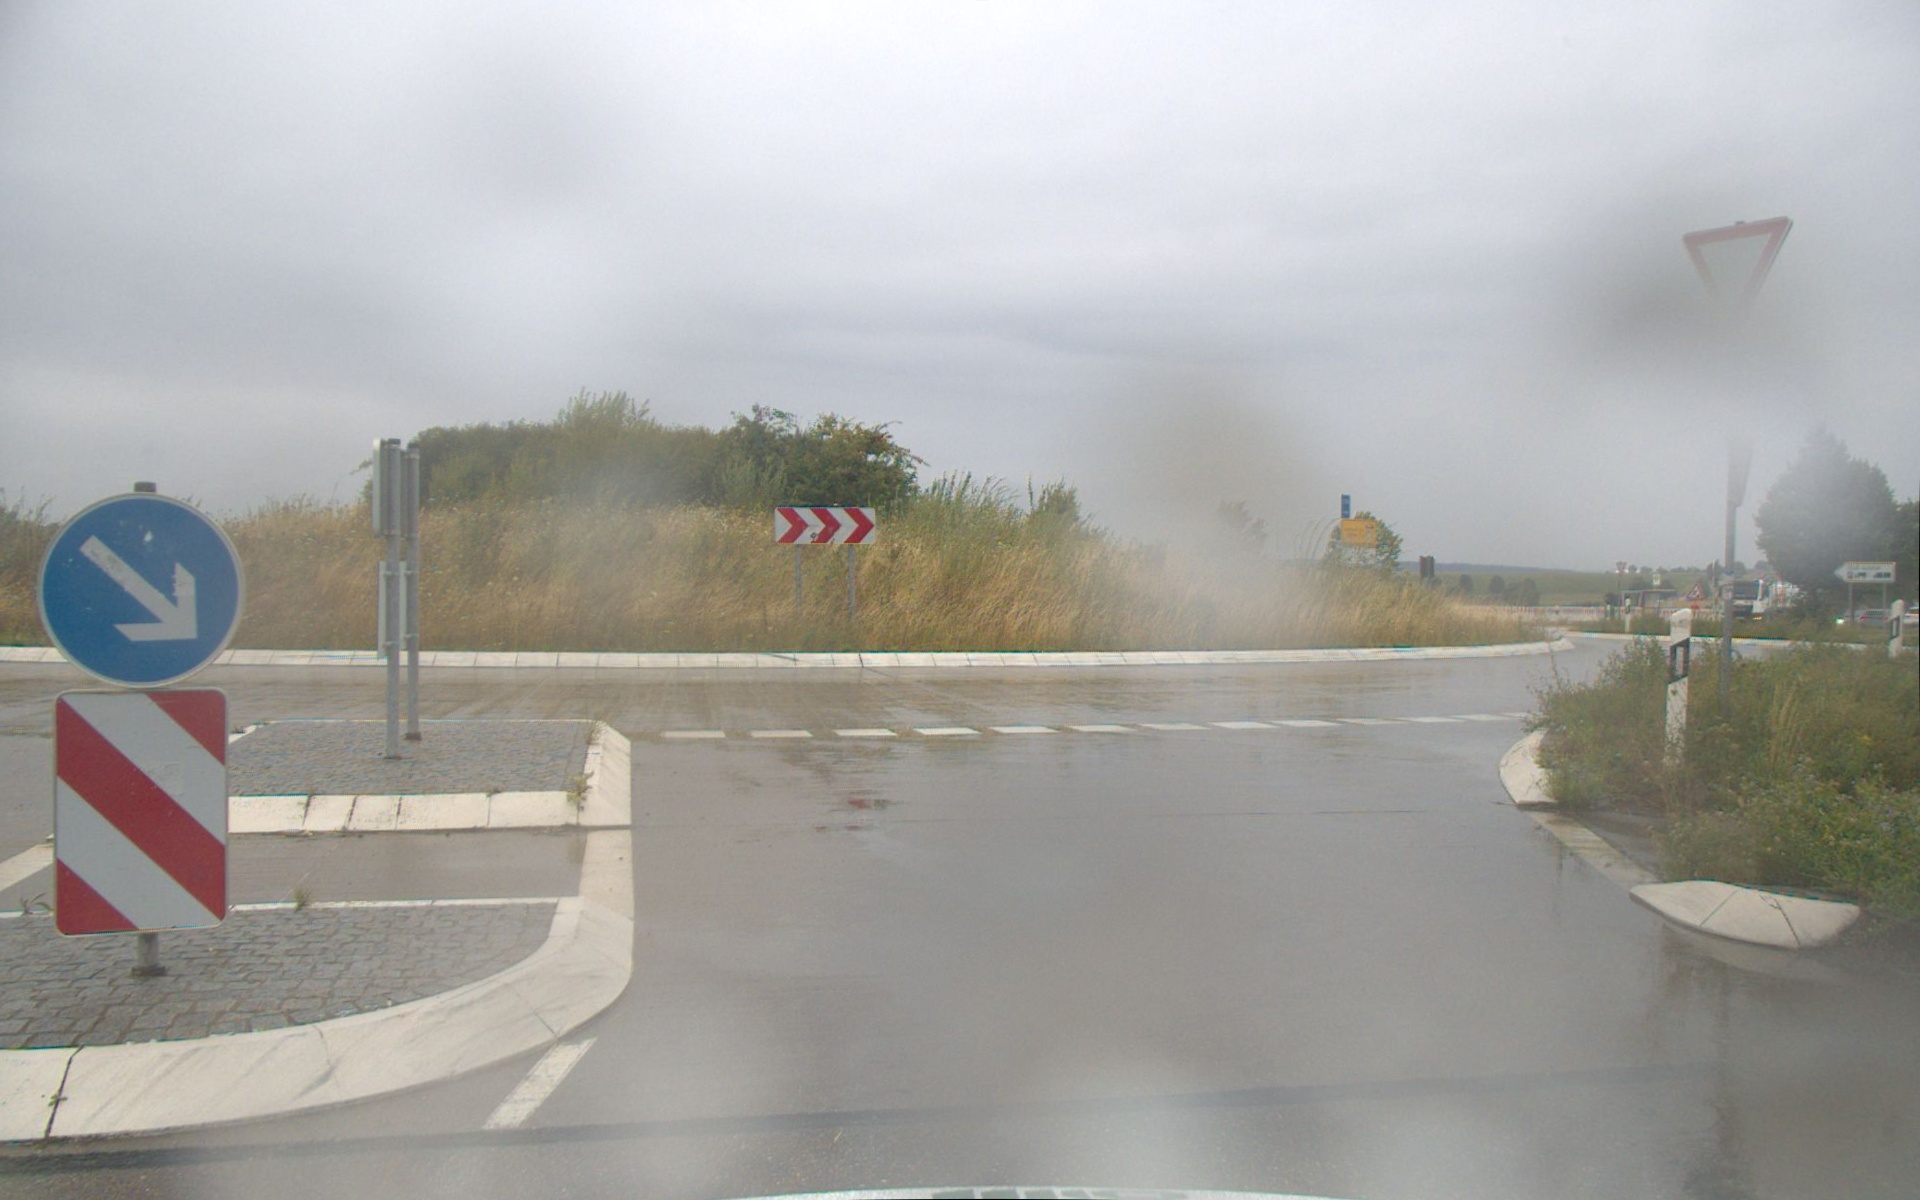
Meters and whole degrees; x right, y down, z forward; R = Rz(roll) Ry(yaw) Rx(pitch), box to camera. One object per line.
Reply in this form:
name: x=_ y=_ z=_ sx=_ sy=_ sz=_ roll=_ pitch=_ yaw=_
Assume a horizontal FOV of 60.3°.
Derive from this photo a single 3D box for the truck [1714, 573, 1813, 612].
truck: x=48.912 y=-0.496 z=100.620 sx=8.339 sy=2.262 sz=2.481 roll=-1 pitch=0 yaw=-42
